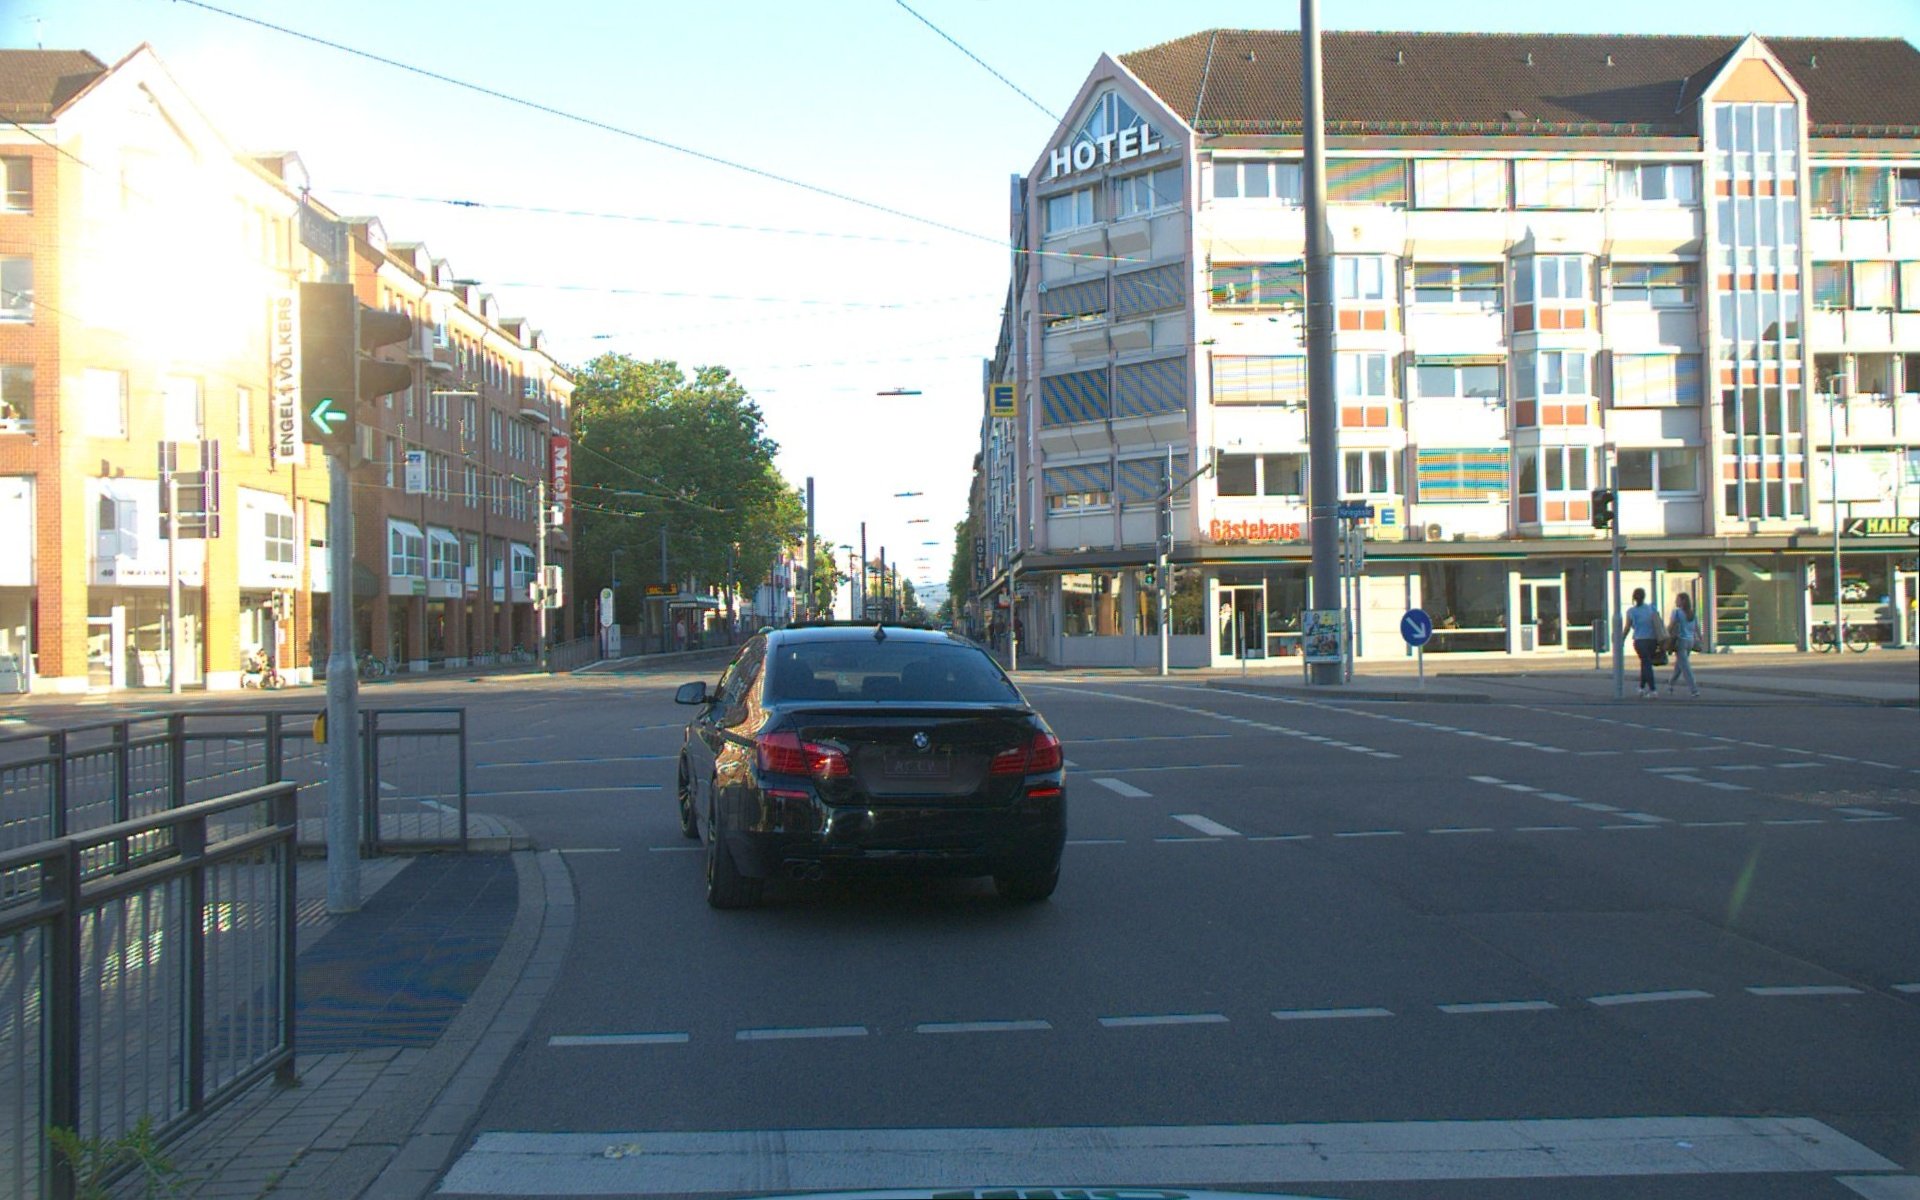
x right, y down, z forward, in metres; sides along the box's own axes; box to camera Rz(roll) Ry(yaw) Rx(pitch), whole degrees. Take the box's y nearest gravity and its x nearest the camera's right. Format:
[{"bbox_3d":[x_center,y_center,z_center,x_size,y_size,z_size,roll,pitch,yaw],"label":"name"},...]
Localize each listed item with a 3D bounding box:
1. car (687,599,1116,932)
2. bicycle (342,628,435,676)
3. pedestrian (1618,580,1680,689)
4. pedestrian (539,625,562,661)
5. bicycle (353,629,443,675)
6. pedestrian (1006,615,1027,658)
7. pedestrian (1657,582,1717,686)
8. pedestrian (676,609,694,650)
[{"bbox_3d":[-0.591,0.793,9.847,1.809,1.521,4.278,1,-1,-12],"label":"car"},{"bbox_3d":[-22.513,2.040,65.183,3.230,1.756,1.069,-1,-1,-1],"label":"bicycle"},{"bbox_3d":[10.792,0.536,25.902,0.712,1.678,0.769,-2,-1,35],"label":"pedestrian"},{"bbox_3d":[-23.521,2.473,95.039,1.064,2.049,1.083,-1,-1,-6],"label":"pedestrian"},{"bbox_3d":[-22.521,2.083,66.352,3.231,1.756,1.069,-1,-1,-2],"label":"bicycle"},{"bbox_3d":[2.095,1.358,61.730,0.691,1.575,0.906,0,2,-5],"label":"pedestrian"},{"bbox_3d":[11.527,0.532,26.227,0.691,1.610,0.823,-2,-1,35],"label":"pedestrian"},{"bbox_3d":[-13.817,1.496,83.251,0.792,2.049,0.677,-1,-1,-4],"label":"pedestrian"}]
